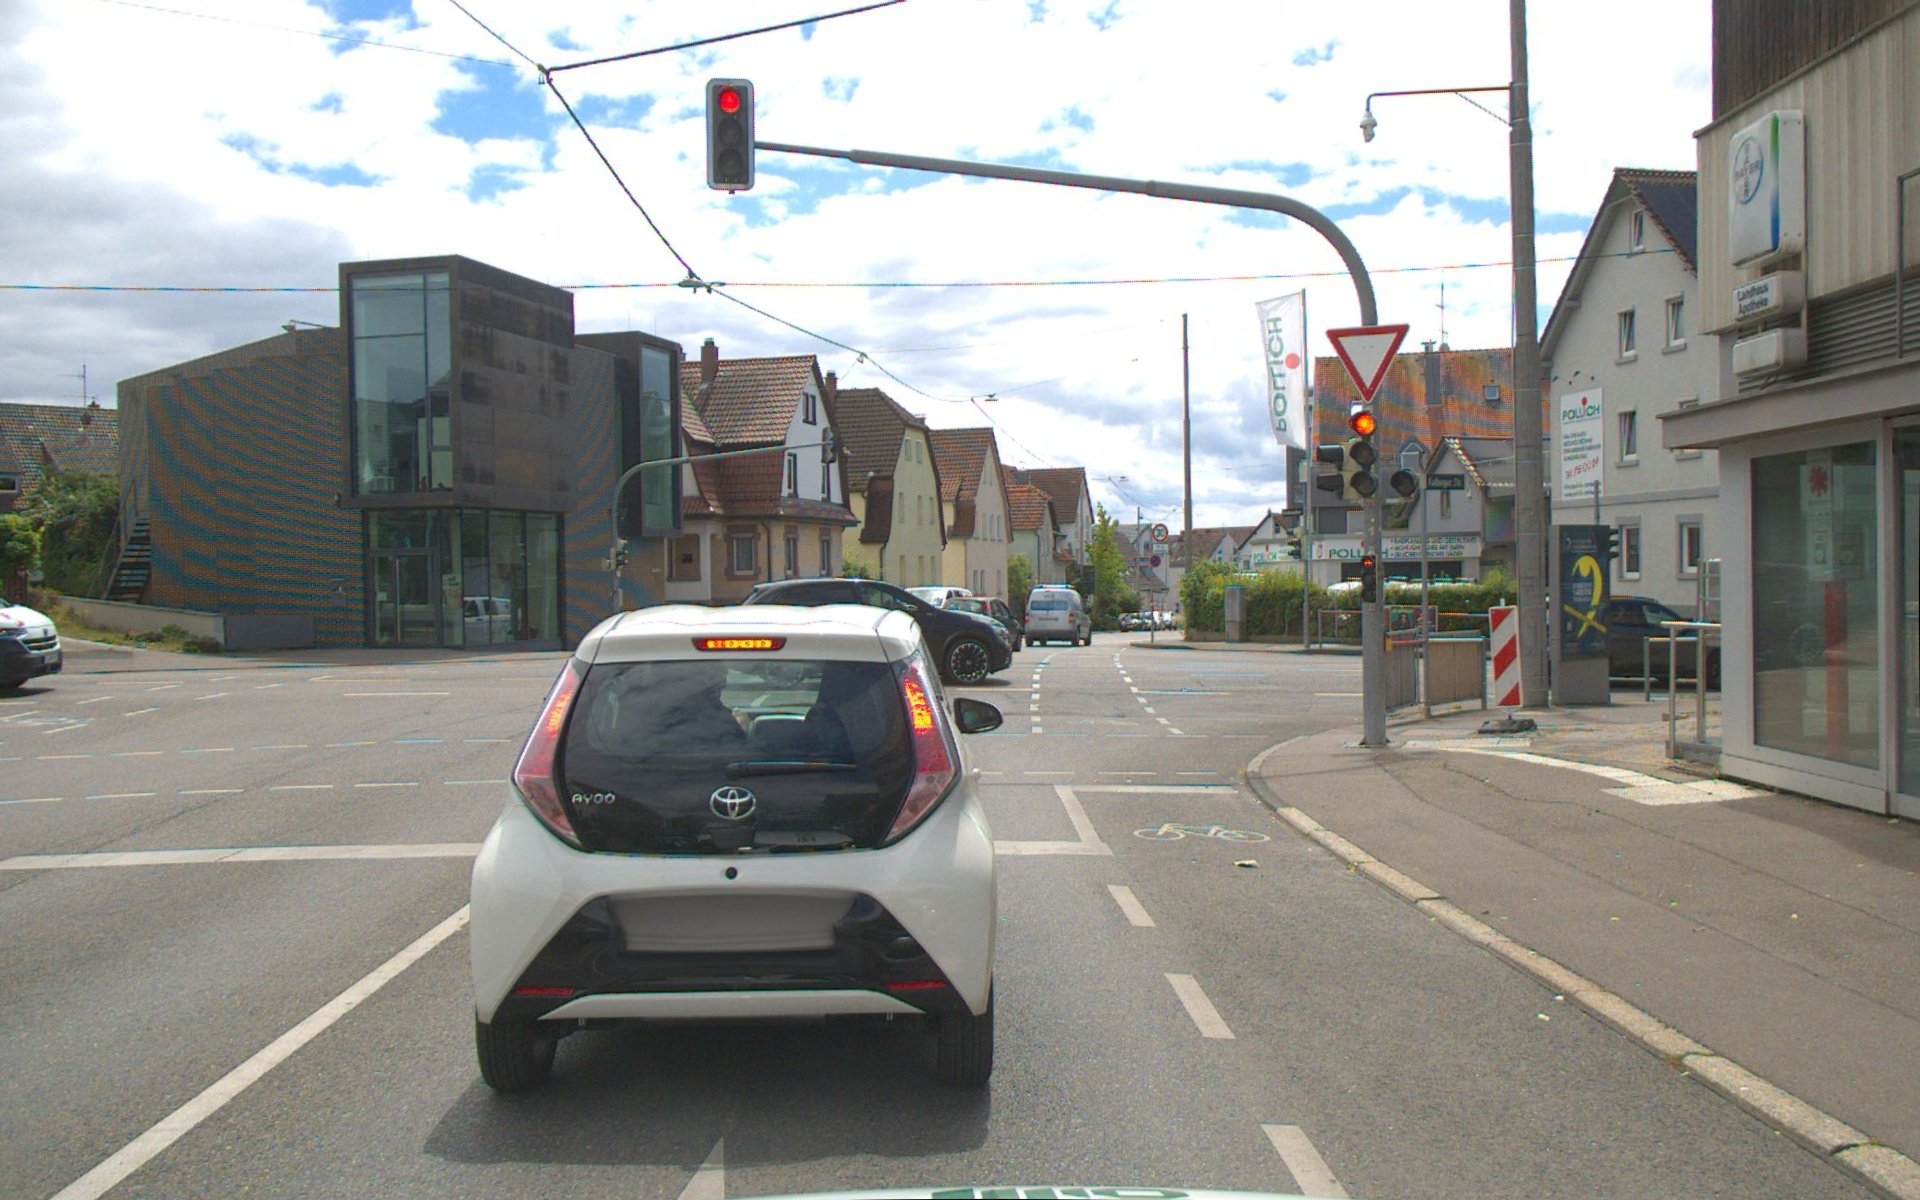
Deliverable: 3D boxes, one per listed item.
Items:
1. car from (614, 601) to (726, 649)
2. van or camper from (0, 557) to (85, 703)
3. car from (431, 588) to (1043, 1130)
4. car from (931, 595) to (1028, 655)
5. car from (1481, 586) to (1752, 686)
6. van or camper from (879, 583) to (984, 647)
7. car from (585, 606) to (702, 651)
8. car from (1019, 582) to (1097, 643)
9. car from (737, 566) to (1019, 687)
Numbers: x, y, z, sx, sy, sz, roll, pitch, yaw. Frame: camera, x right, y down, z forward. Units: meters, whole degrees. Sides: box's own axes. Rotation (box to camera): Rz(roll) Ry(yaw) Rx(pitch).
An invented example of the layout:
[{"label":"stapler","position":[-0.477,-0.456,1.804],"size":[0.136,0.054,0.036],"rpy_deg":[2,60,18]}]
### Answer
[{"label":"car","position":[-10.275,0.865,58.709],"size":[3.537,1.633,1.693],"rpy_deg":[1,0,11]},{"label":"van or camper","position":[-16.132,0.460,24.684],"size":[5.024,2.113,1.995],"rpy_deg":[-1,0,-10]},{"label":"car","position":[-0.681,0.716,6.216],"size":[1.663,1.482,3.297],"rpy_deg":[1,0,-3]},{"label":"car","position":[0.576,0.639,44.472],"size":[1.951,1.512,4.003],"rpy_deg":[1,0,10]},{"label":"car","position":[11.910,0.618,30.120],"size":[4.216,1.705,1.994],"rpy_deg":[-1,0,-12]},{"label":"van or camper","position":[-0.856,0.471,53.930],"size":[2.070,1.959,5.289],"rpy_deg":[1,0,14]},{"label":"car","position":[-10.814,0.955,56.577],"size":[3.537,1.444,1.693],"rpy_deg":[1,0,11]},{"label":"car","position":[3.263,0.385,54.210],"size":[1.951,1.881,4.076],"rpy_deg":[1,0,12]},{"label":"car","position":[-1.396,0.386,27.094],"size":[4.417,1.773,1.996],"rpy_deg":[-1,2,-10]}]
